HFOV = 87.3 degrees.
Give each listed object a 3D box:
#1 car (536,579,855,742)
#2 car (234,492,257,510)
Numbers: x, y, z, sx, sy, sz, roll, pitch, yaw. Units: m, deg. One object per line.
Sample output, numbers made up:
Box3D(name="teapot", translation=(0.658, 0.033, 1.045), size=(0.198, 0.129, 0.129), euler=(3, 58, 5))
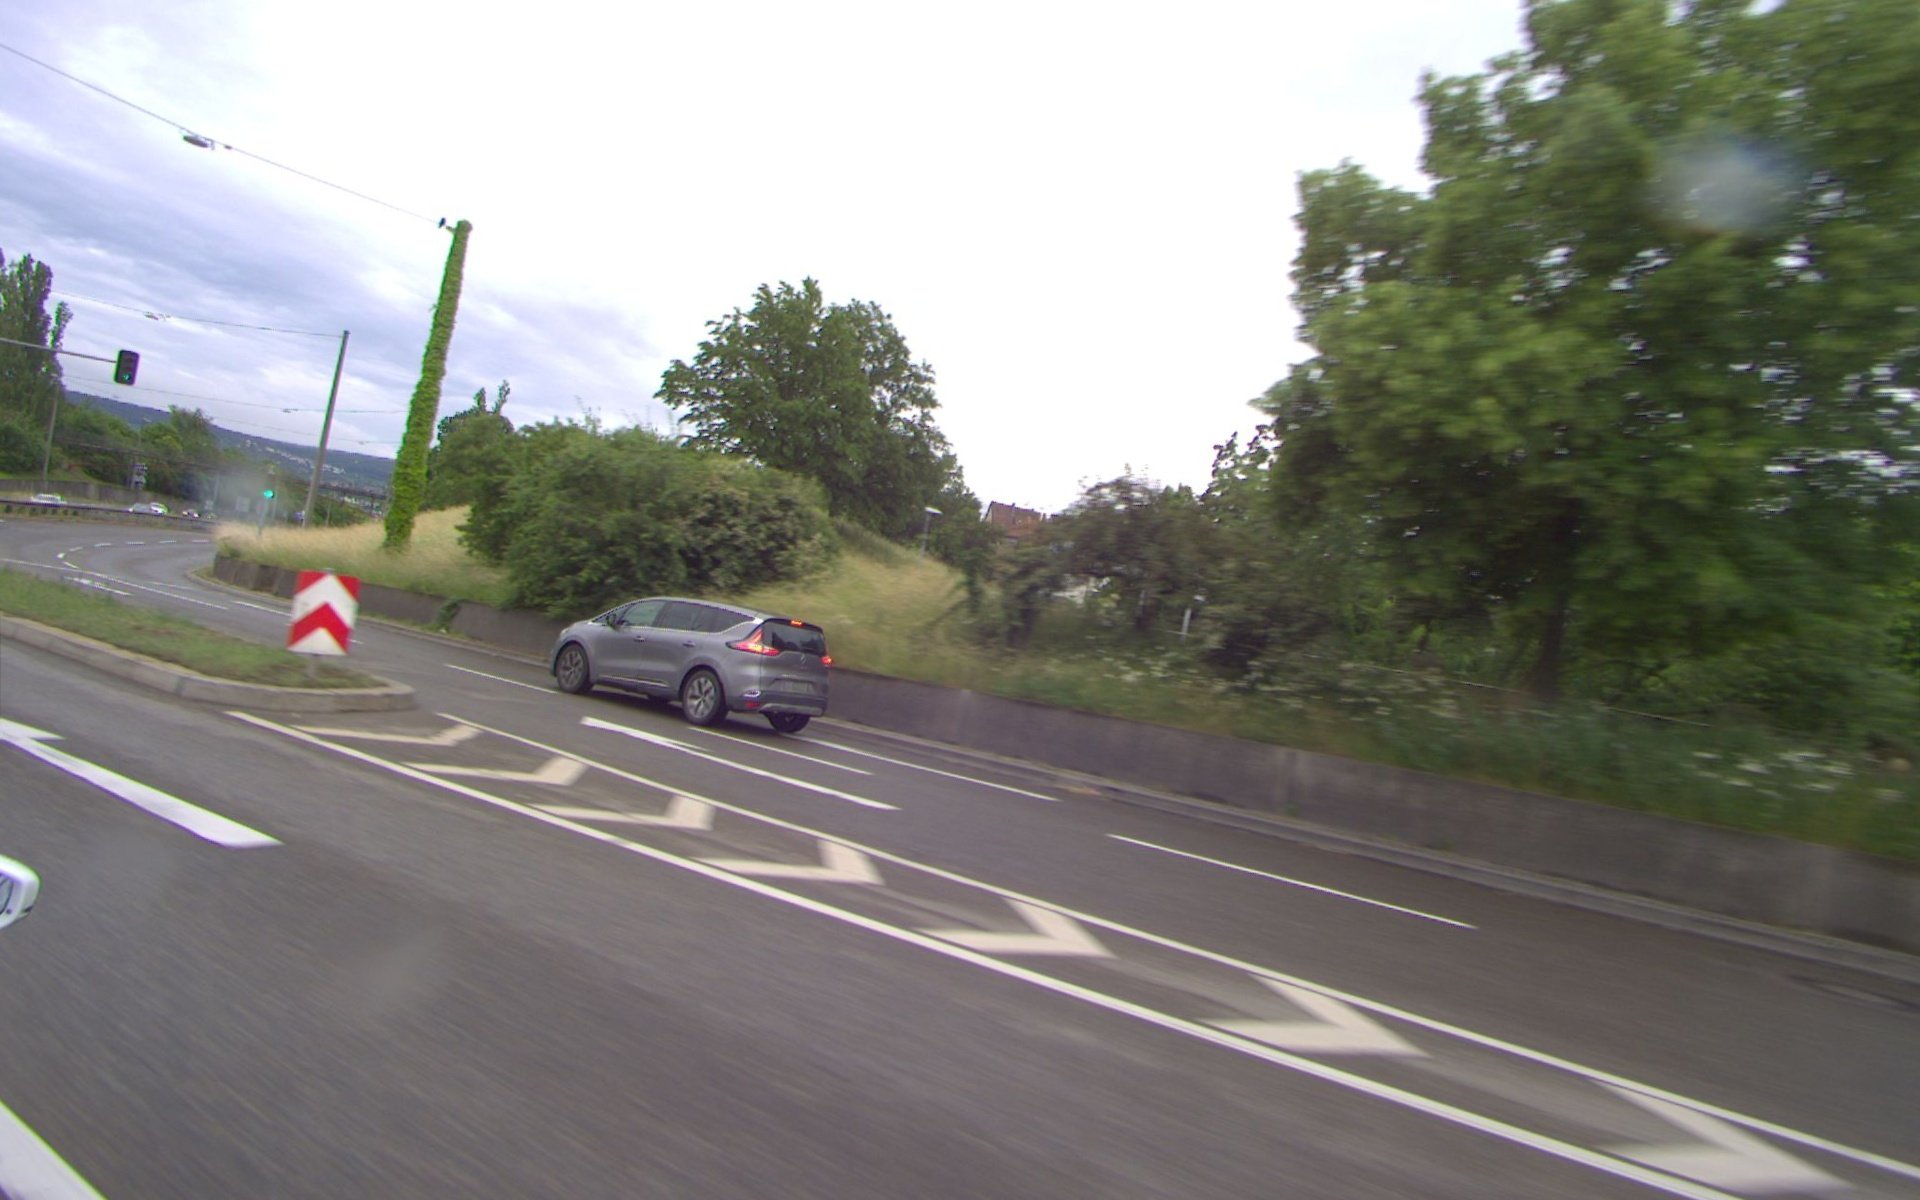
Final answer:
Box3D(name="car", translation=(-3.926, 0.824, 14.598), size=(4.552, 1.666, 1.730), euler=(6, -5, 34))
Box3D(name="car", translation=(-100.230, -13.883, 141.154), size=(2.062, 2.107, 4.334), euler=(11, -1, -31))
